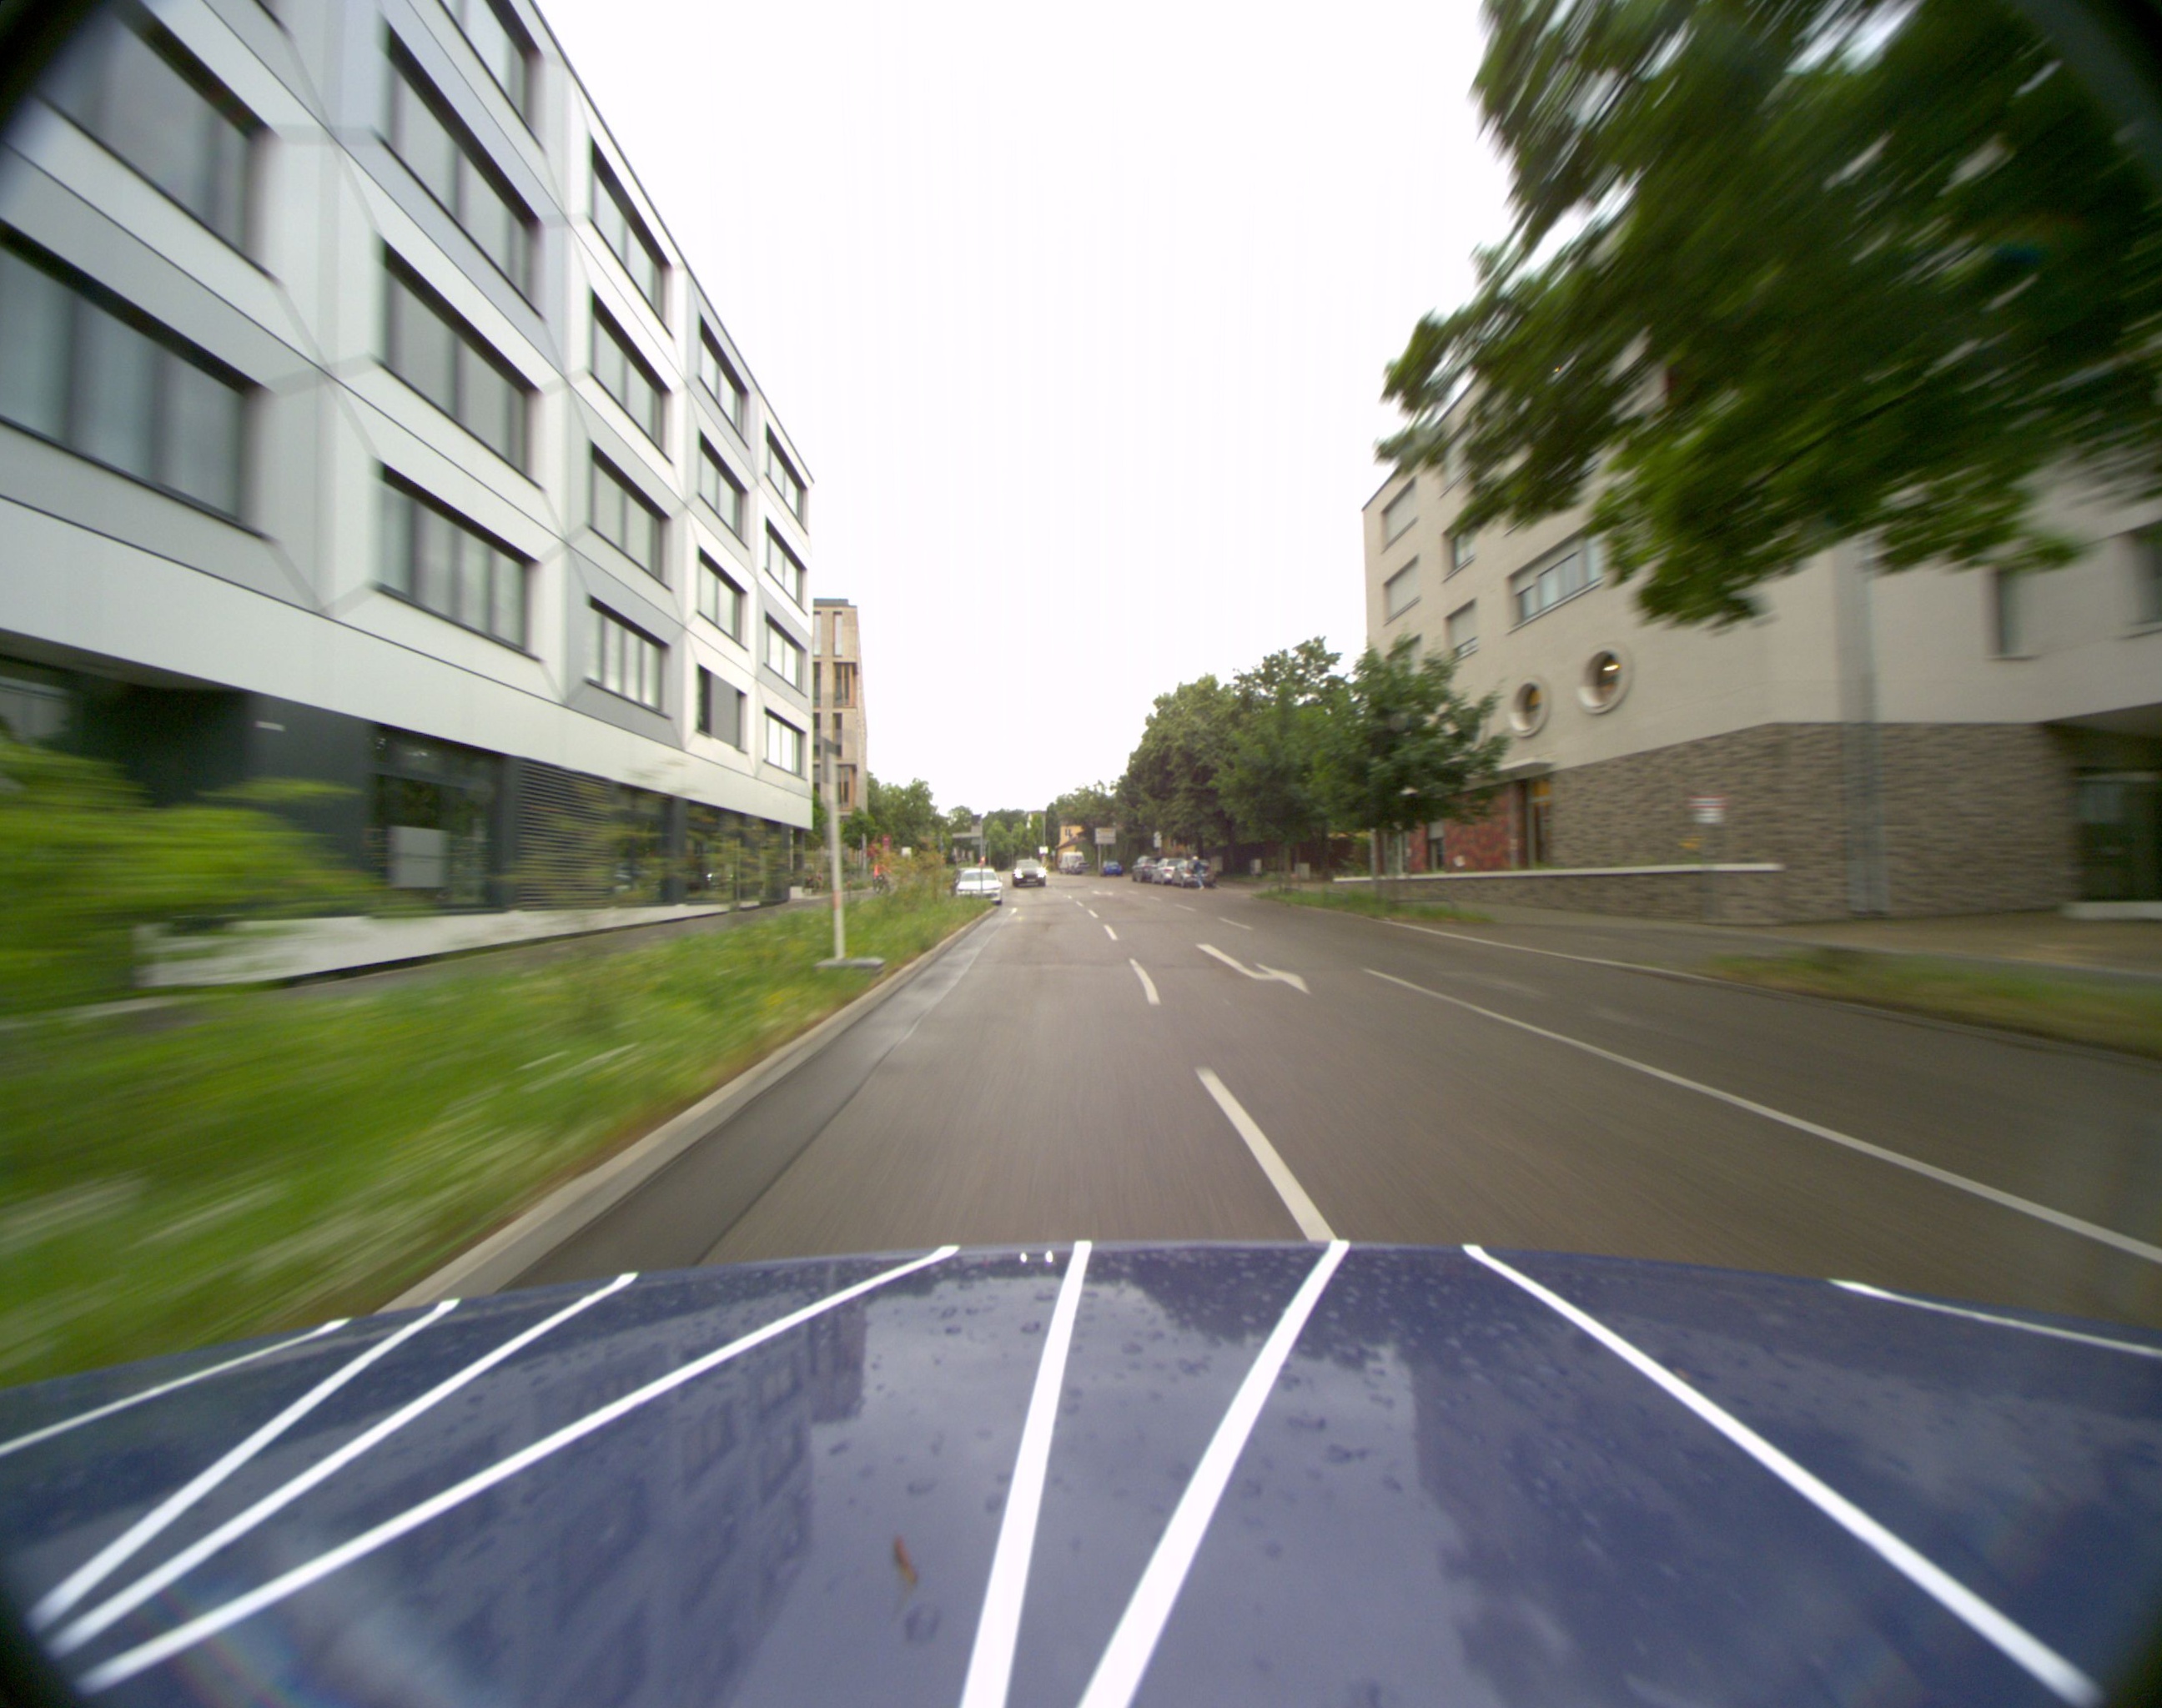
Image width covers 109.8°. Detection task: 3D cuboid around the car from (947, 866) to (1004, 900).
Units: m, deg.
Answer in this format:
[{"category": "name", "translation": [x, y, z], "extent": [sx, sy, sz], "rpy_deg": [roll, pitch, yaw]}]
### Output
[{"category": "car", "translation": [-5.086, 1.326, 36.248], "extent": [2.052, 1.449, 4.049], "rpy_deg": [-2, 0, -17]}]

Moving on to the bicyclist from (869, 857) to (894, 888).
[{"category": "bicyclist", "translation": [-10.154, 0.937, 38.677], "extent": [0.841, 1.494, 1.073], "rpy_deg": [-3, 1, -39]}]

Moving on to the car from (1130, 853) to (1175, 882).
[{"category": "car", "translation": [4.757, 0.861, 51.388], "extent": [1.999, 1.776, 5.407], "rpy_deg": [-2, 0, -5]}]

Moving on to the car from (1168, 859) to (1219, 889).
[{"category": "car", "translation": [6.046, 1.028, 41.288], "extent": [1.885, 1.454, 3.845], "rpy_deg": [-2, 0, -5]}]

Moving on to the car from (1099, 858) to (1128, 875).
[{"category": "car", "translation": [2.885, 1.106, 68.467], "extent": [1.999, 1.461, 4.183], "rpy_deg": [-2, 0, -6]}]

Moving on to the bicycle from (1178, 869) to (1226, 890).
[{"category": "bicycle", "translation": [6.002, 1.247, 37.718], "extent": [2.248, 0.973, 0.806], "rpy_deg": [-1, 1, 41]}]

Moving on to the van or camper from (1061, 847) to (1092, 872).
[{"category": "van or camper", "translation": [-0.583, 0.644, 88.934], "extent": [2.348, 2.748, 6.136], "rpy_deg": [-2, 0, -12]}]

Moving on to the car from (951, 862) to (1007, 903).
[{"category": "car", "translation": [-4.150, 1.126, 31.473], "extent": [2.045, 1.456, 4.500], "rpy_deg": [-2, 0, -5]}]

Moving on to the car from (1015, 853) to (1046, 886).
[{"category": "car", "translation": [-3.214, 0.934, 48.809], "extent": [1.848, 1.961, 4.342], "rpy_deg": [-2, 1, -3]}]

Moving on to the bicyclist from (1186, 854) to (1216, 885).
[{"category": "bicyclist", "translation": [5.966, 0.755, 37.735], "extent": [1.198, 1.514, 0.805], "rpy_deg": [-1, 1, 42]}]

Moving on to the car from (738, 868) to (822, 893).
[{"category": "car", "translation": [-17.787, 1.532, 45.020], "extent": [4.242, 1.237, 1.728], "rpy_deg": [-2, 0, -6]}]

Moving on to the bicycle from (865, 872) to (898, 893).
[{"category": "bicycle", "translation": [-10.174, 1.424, 38.751], "extent": [0.627, 1.014, 2.476], "rpy_deg": [-1, 0, -40]}]

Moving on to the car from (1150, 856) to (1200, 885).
[{"category": "car", "translation": [5.588, 0.972, 45.870], "extent": [1.996, 1.584, 4.487], "rpy_deg": [-2, 0, -6]}]

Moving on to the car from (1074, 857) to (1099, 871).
[{"category": "car", "translation": [0.555, 1.078, 83.557], "extent": [2.000, 1.504, 4.418], "rpy_deg": [-2, 0, -10]}]
